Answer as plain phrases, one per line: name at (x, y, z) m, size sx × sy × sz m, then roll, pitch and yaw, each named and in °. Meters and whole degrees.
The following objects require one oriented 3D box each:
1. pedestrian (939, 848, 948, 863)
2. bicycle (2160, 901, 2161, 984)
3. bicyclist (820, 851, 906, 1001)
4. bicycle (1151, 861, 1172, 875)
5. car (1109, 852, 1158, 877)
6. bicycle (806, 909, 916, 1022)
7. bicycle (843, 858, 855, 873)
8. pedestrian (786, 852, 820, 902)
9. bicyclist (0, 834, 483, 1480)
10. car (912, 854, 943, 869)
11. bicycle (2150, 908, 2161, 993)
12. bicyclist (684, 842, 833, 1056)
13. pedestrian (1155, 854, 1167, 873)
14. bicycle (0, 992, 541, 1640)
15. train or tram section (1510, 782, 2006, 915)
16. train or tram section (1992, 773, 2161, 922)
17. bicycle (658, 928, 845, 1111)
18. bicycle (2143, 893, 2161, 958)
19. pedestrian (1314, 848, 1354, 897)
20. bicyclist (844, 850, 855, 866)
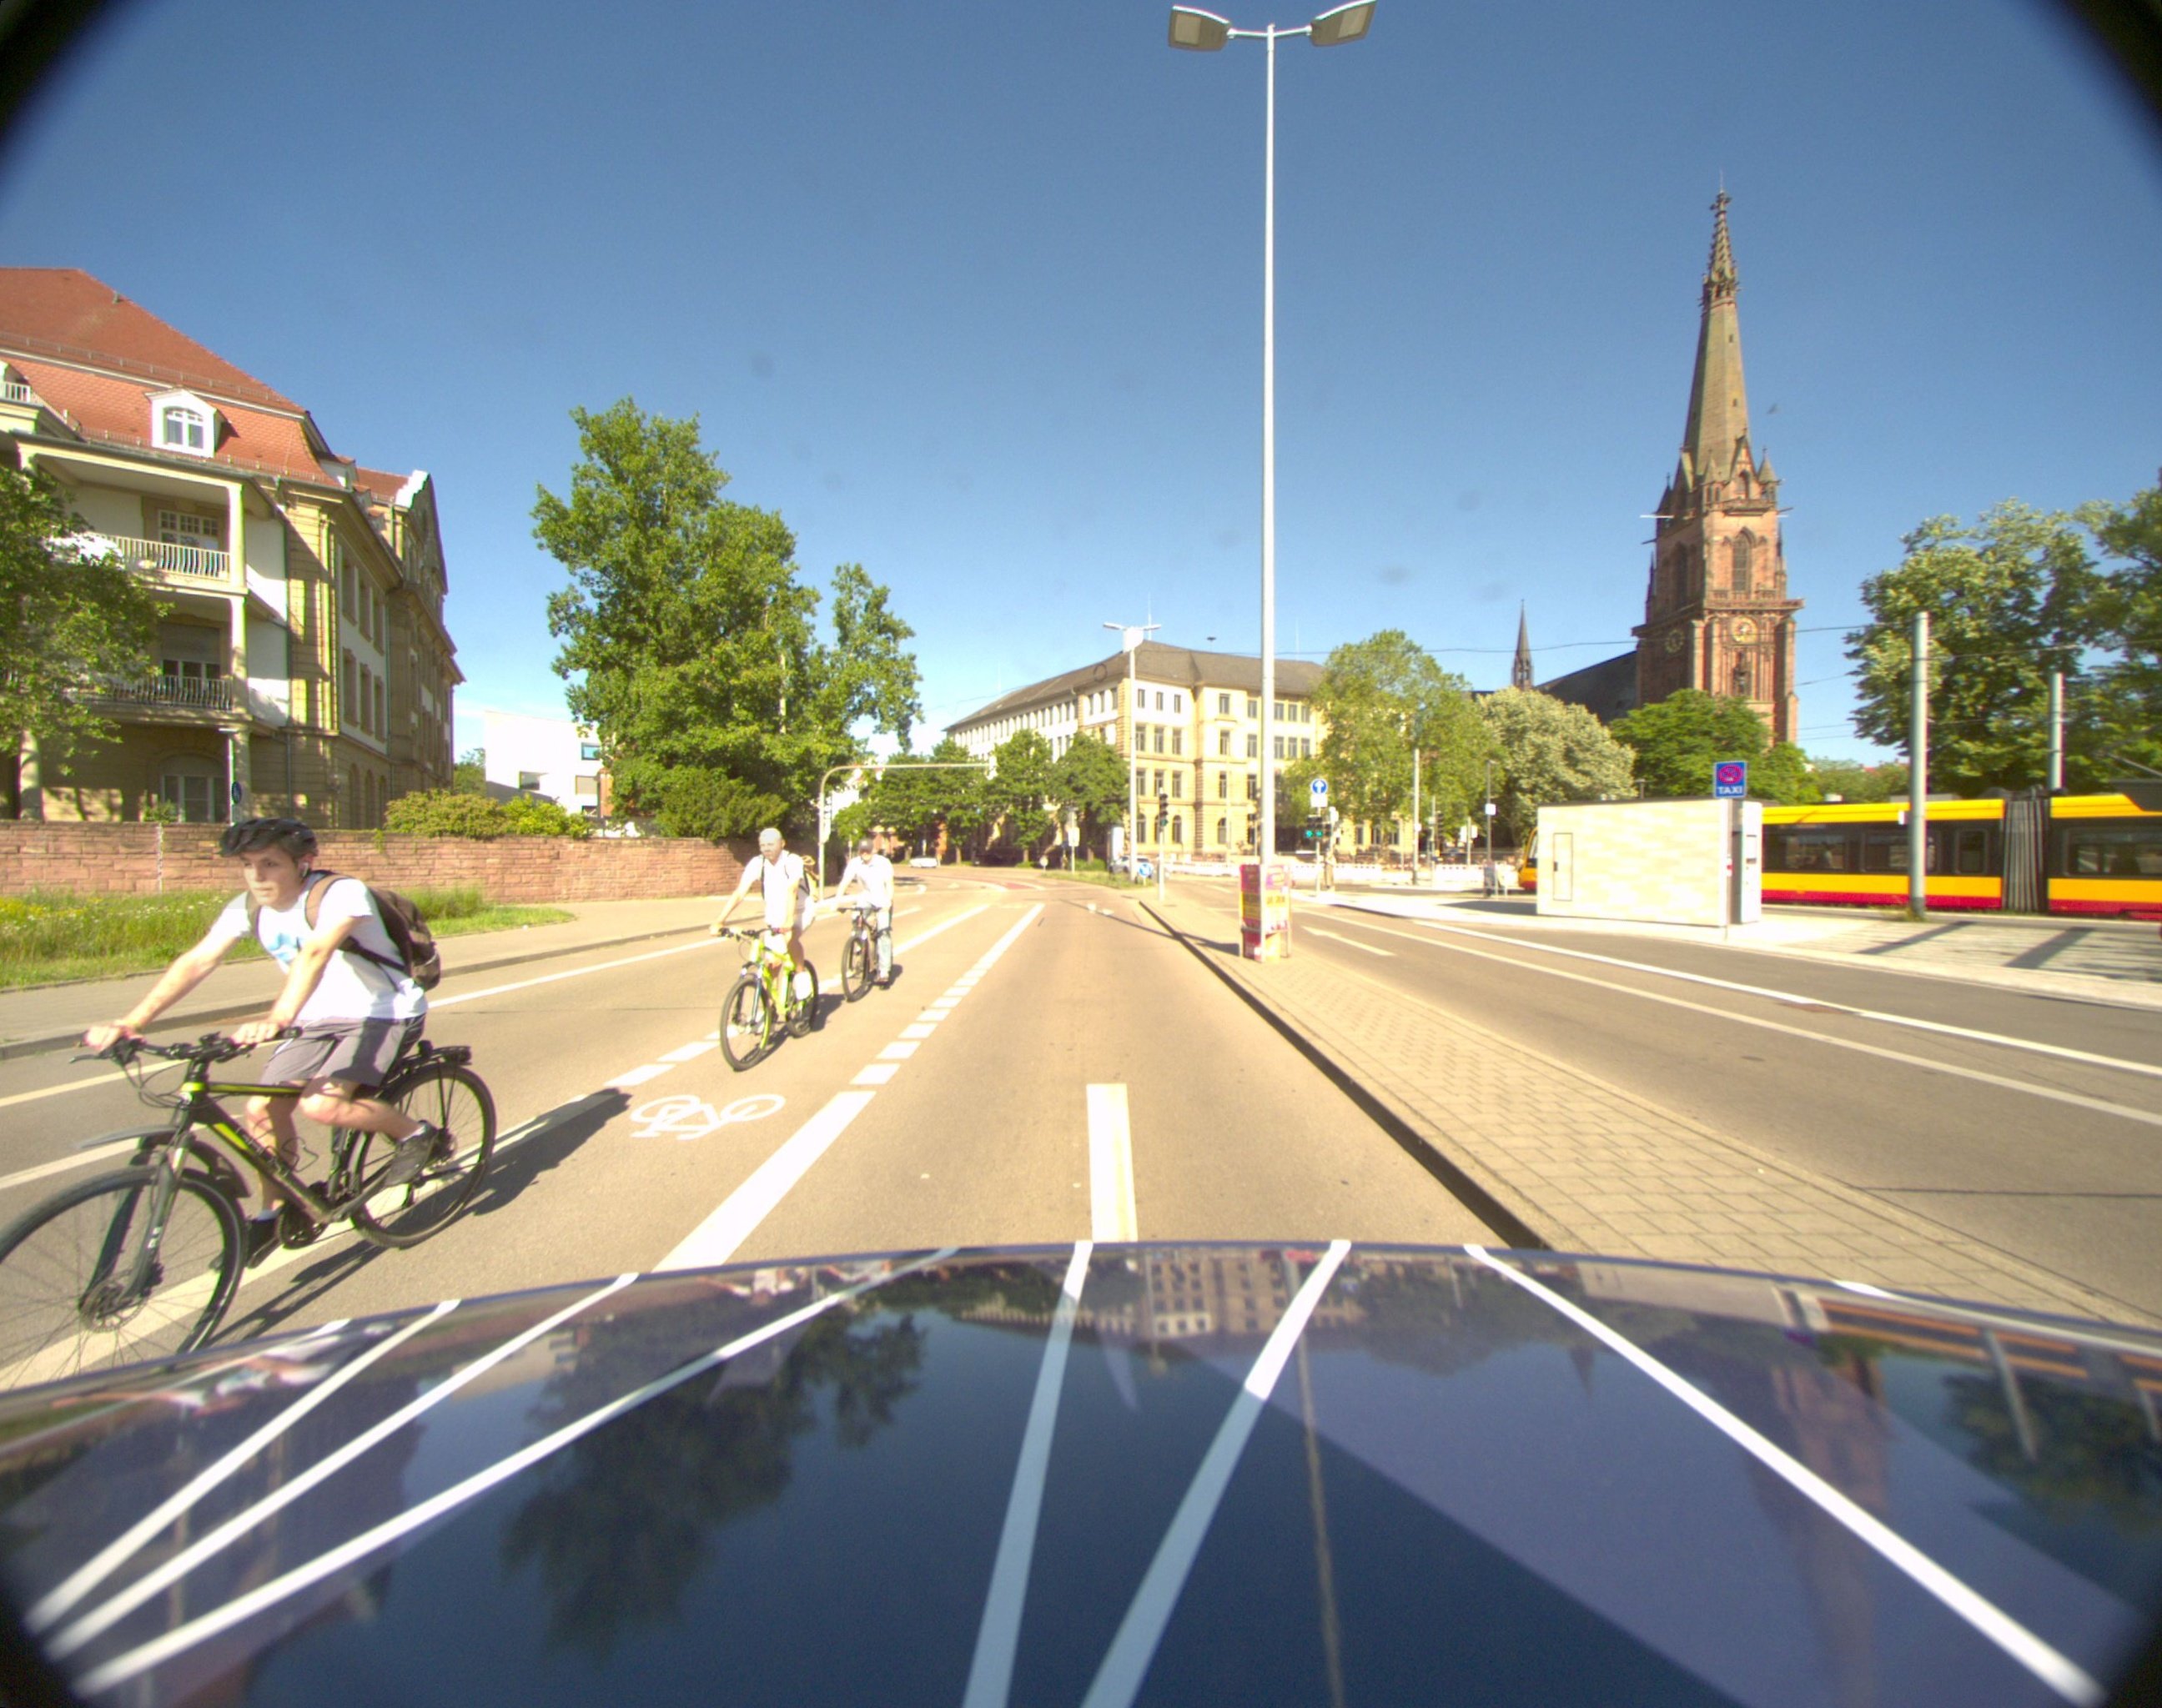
pedestrian at (-17.172, 0.208, 94.767) m, size 0.759 × 1.802 × 0.977 m, roll -1°, pitch 1°, yaw -40°
bicycle at (14.652, 1.141, 9.176) m, size 0.630 × 1.059 × 1.826 m, roll -1°, pitch 1°, yaw -32°
bicyclist at (-2.525, 0.803, 8.891) m, size 0.742 × 1.664 × 0.865 m, roll 0°, pitch 1°, yaw -1°
bicycle at (6.048, 1.061, 57.067) m, size 0.601 × 1.000 × 1.984 m, roll -3°, pitch 1°, yaw -24°
car at (3.530, 0.686, 52.035) m, size 1.849 × 1.543 × 4.328 m, roll 1°, pitch 0°, yaw -18°
bicycle at (-2.519, 1.244, 8.940) m, size 0.749 × 1.044 × 1.903 m, roll 0°, pitch 1°, yaw -1°
bicycle at (-23.060, 1.124, 75.640) m, size 0.763 × 1.360 × 2.732 m, roll -1°, pitch 1°, yaw -25°
pedestrian at (-10.670, 0.870, 29.171) m, size 0.729 × 1.839 × 0.963 m, roll 2°, pitch 1°, yaw 24°
bicyclist at (-2.772, 0.837, 2.562) m, size 0.678 × 1.775 × 0.939 m, roll -2°, pitch 1°, yaw -1°
car at (-16.749, 0.799, 82.846) m, size 1.853 × 1.477 × 4.154 m, roll -1°, pitch 1°, yaw -35°
bicycle at (13.910, 1.217, 8.702) m, size 0.702 × 1.002 × 1.863 m, roll -1°, pitch 2°, yaw -32°
bicyclist at (-2.573, 0.705, 6.187) m, size 0.676 × 1.574 × 1.081 m, roll -2°, pitch 1°, yaw 0°
pedestrian at (6.014, 0.724, 57.076) m, size 0.596 × 1.394 × 0.645 m, roll -3°, pitch 1°, yaw -23°
bicycle at (-2.757, 1.202, 2.521) m, size 0.616 × 1.131 × 1.826 m, roll -1°, pitch 1°, yaw -1°
train or tram section at (22.081, -0.173, 26.383) m, size 2.806 × 3.580 × 12.504 m, roll -1°, pitch 1°, yaw -35°
train or tram section at (29.167, -0.142, 16.160) m, size 2.806 × 3.580 × 12.294 m, roll -1°, pitch 1°, yaw -35°
bicycle at (-2.557, 1.232, 6.164) m, size 0.673 × 1.044 × 1.843 m, roll -2°, pitch 1°, yaw 0°
bicycle at (17.794, 1.151, 11.574) m, size 0.630 × 1.001 × 1.826 m, roll -1°, pitch 1°, yaw -32°
pedestrian at (9.625, 0.680, 28.929) m, size 1.229 × 1.845 × 0.827 m, roll 0°, pitch 1°, yaw -1°
bicyclist at (-23.119, 0.391, 75.807) m, size 0.871 × 1.551 × 1.277 m, roll -1°, pitch 1°, yaw -26°
